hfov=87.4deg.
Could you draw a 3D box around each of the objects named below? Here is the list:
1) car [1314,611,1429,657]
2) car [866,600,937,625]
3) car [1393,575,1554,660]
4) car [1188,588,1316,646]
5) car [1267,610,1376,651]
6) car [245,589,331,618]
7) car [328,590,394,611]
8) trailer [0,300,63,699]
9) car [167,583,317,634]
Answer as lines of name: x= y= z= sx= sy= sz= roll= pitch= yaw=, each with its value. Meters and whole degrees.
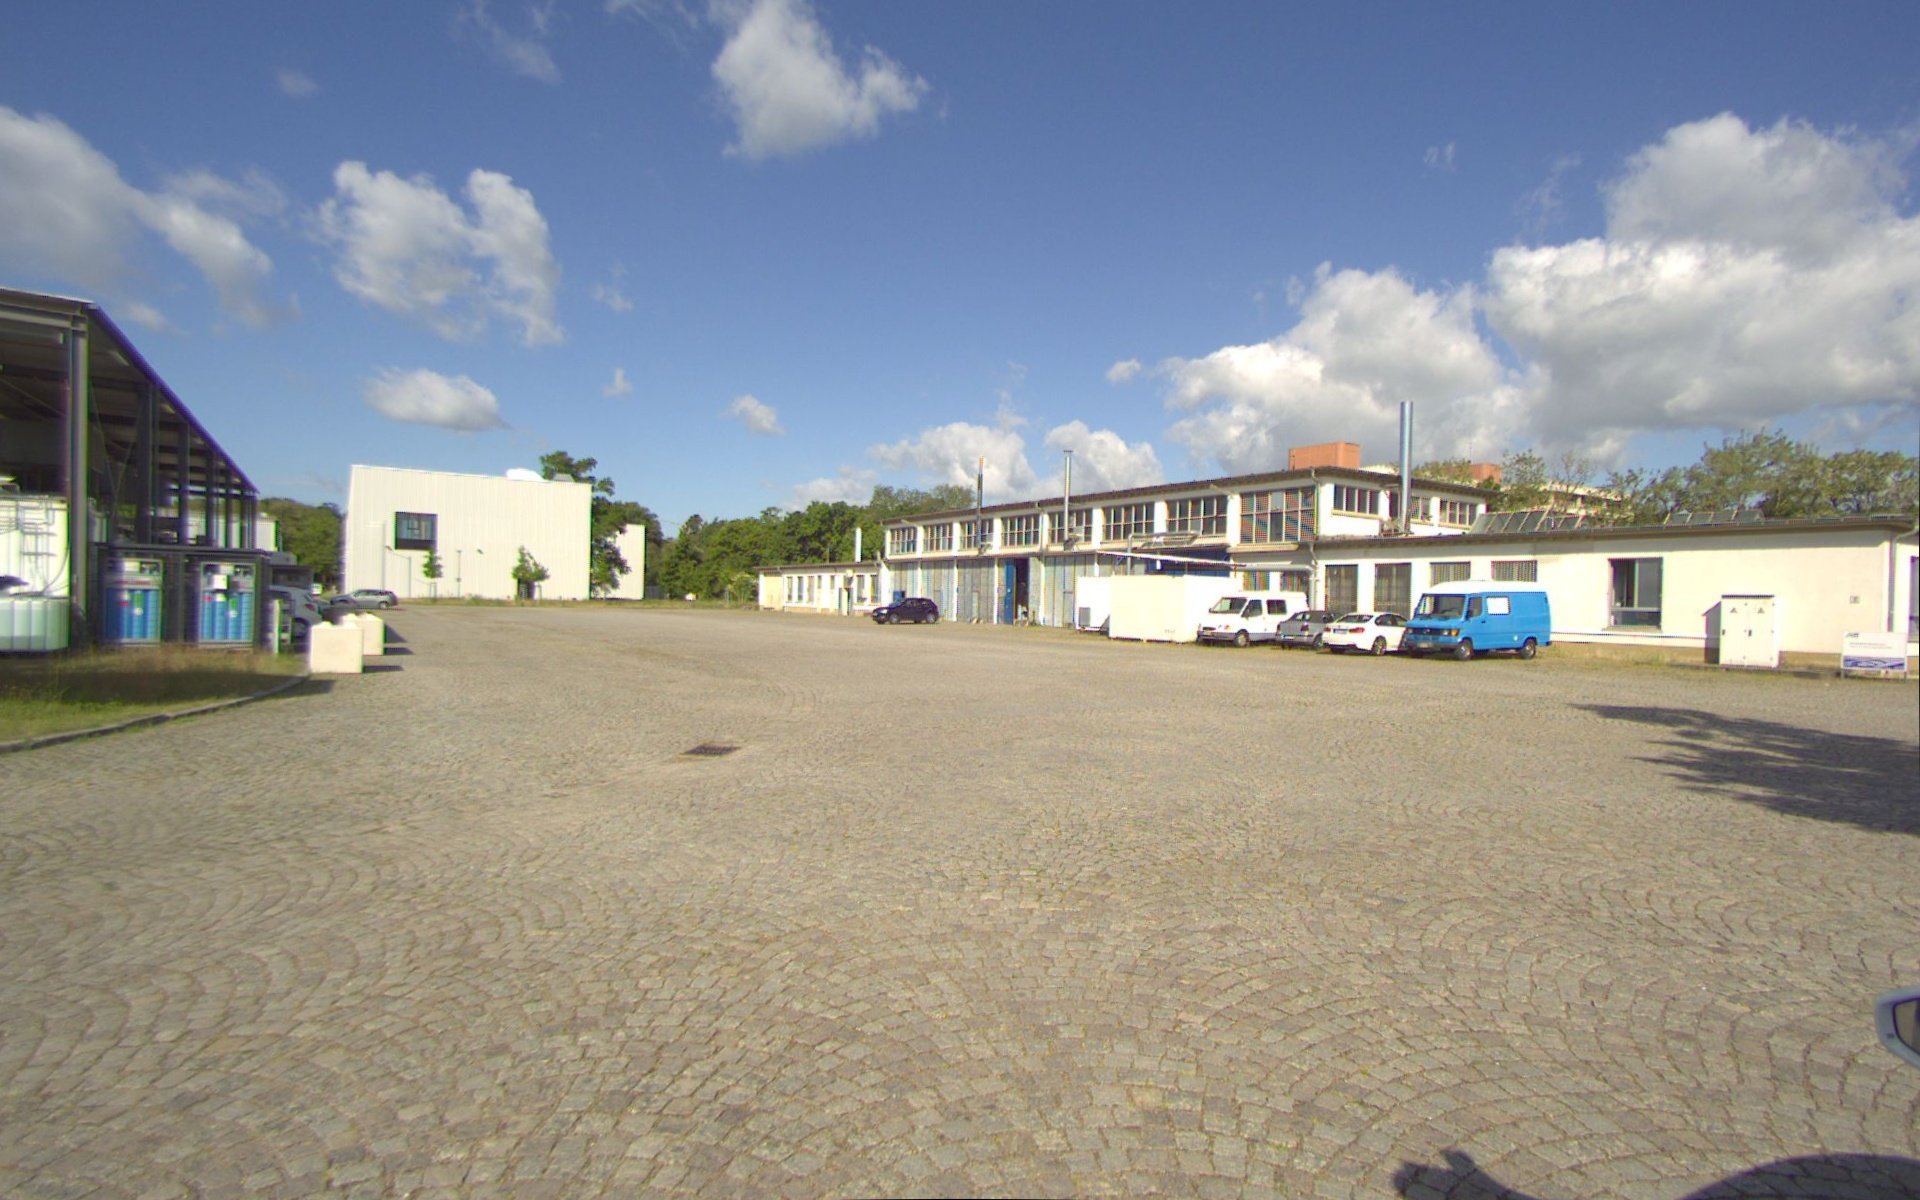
car: x=13.888 y=1.115 z=33.858 sx=3.694 sy=1.424 sz=1.724 roll=0 pitch=0 yaw=-30
car: x=-3.593 y=0.772 z=61.908 sx=4.034 sy=1.489 sz=1.724 roll=1 pitch=0 yaw=-34
car: x=16.445 y=0.578 z=32.122 sx=5.176 sy=2.516 sz=2.073 roll=1 pitch=0 yaw=-30
car: x=11.330 y=0.671 z=38.927 sx=4.747 sy=2.109 sz=1.994 roll=1 pitch=0 yaw=-30
car: x=13.237 y=1.116 z=36.746 sx=3.786 sy=1.417 sz=1.679 roll=1 pitch=0 yaw=-30
car: x=-35.043 y=0.176 z=52.390 sx=3.661 sy=1.427 sz=1.659 roll=1 pitch=0 yaw=-36
car: x=-44.790 y=0.046 z=75.125 sx=4.144 sy=1.422 sz=1.724 roll=1 pitch=0 yaw=-34
trailer: x=-14.549 y=-1.110 z=7.881 sx=10.759 sy=3.963 sz=2.758 roll=1 pitch=0 yaw=-31
car: x=-20.719 y=0.255 z=29.093 sx=3.440 sy=1.394 sz=1.595 roll=1 pitch=0 yaw=-36
